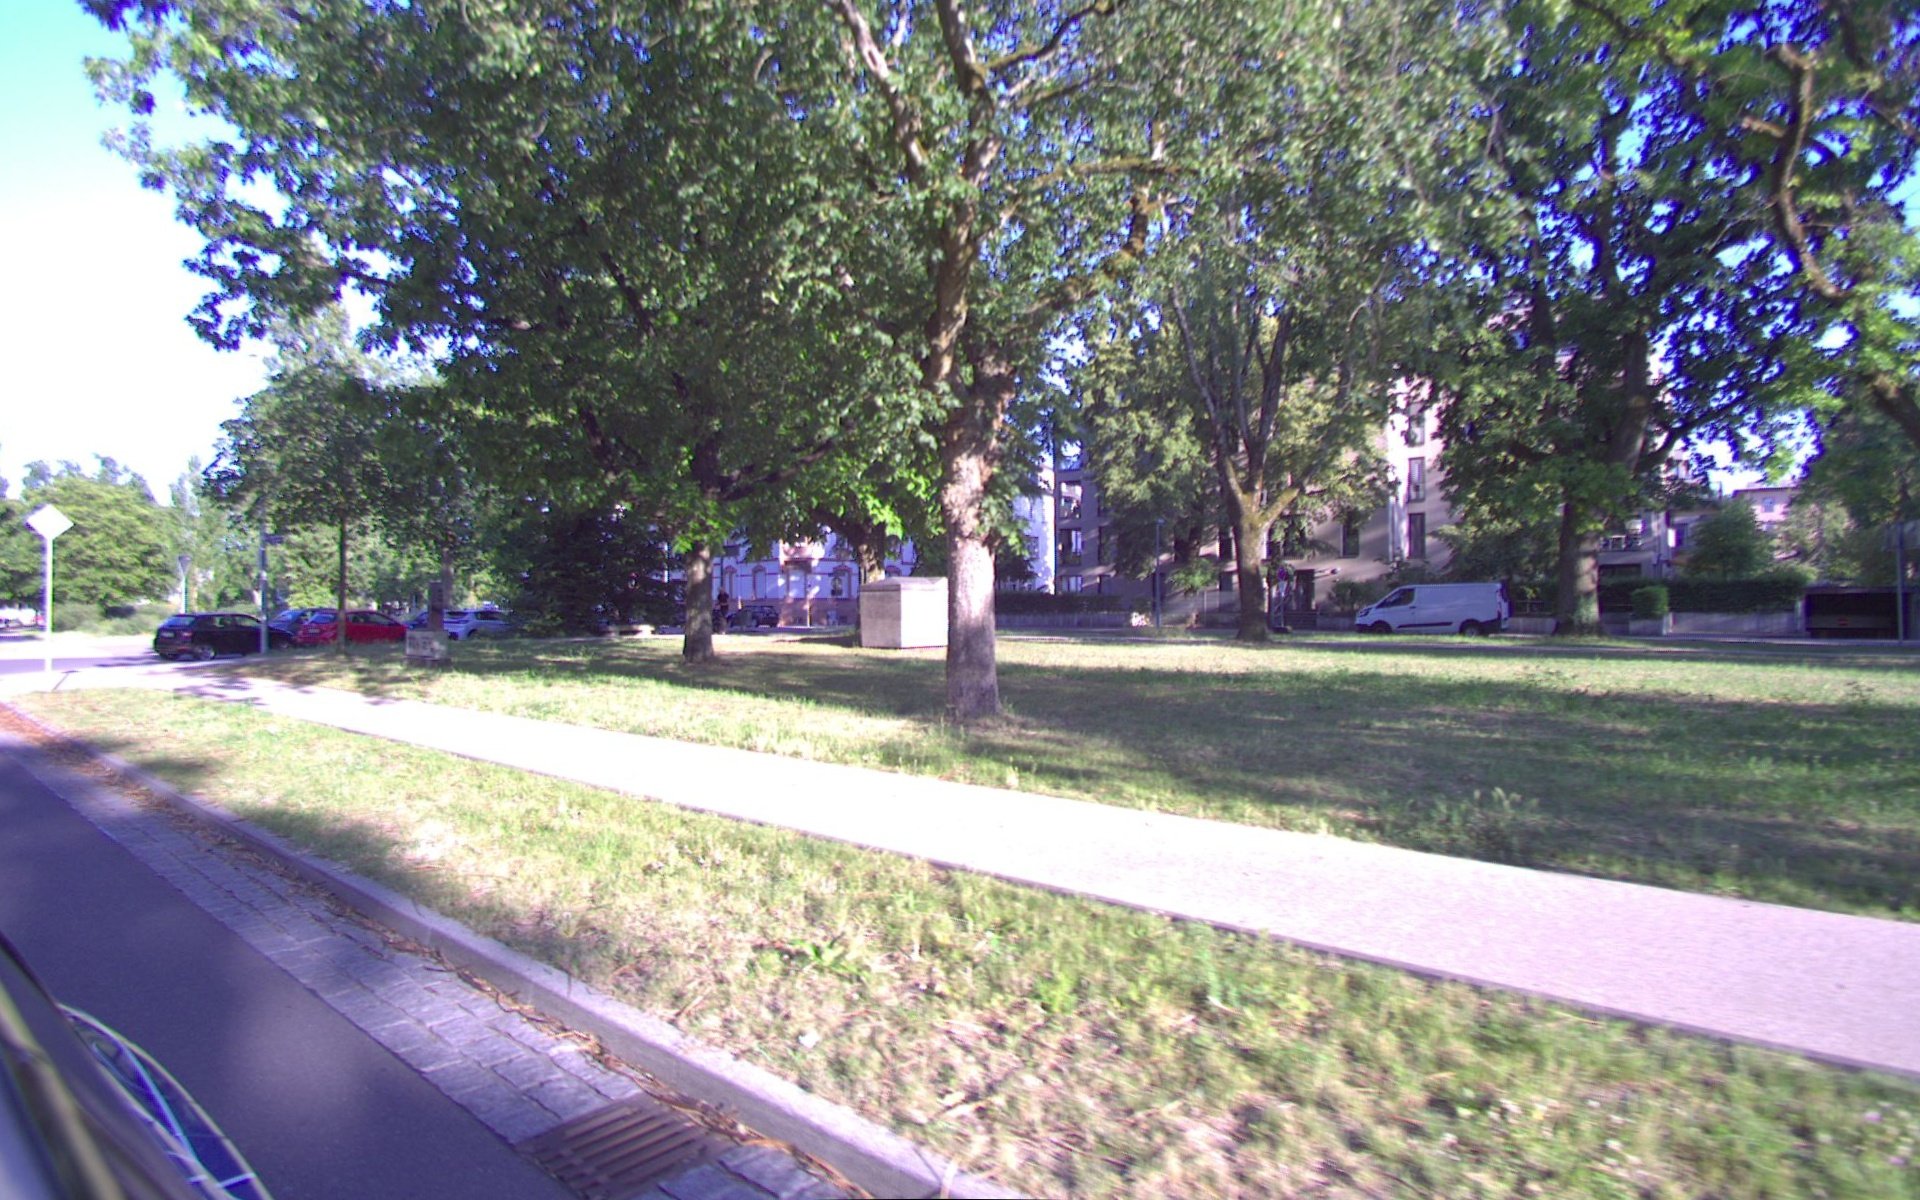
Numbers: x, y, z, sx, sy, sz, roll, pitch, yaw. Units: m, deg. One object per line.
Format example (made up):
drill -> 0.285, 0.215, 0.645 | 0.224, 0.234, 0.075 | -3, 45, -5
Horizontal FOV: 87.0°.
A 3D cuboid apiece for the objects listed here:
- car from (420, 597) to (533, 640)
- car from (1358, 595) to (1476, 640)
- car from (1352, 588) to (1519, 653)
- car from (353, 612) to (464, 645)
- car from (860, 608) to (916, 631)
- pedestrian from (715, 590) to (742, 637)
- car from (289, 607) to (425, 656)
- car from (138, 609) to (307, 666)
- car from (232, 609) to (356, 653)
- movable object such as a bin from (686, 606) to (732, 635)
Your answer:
car -> -19.595, 0.709, 41.189 | 1.877, 1.586, 3.973 | 1, 1, 20
car -> 17.642, 0.648, 39.158 | 3.737, 1.630, 1.973 | -1, 0, 42
car -> 16.781, 0.687, 35.786 | 4.957, 2.130, 2.646 | -1, 0, 35
car -> -24.539, 1.232, 45.188 | 1.825, 1.411, 4.249 | 0, -1, 19
car -> -5.250, 1.398, 74.081 | 1.890, 1.586, 3.945 | 1, 1, 41
pedestrian -> -8.403, 0.490, 36.671 | 0.669, 1.708, 0.657 | -1, 0, 29
car -> -21.437, 1.067, 36.178 | 1.874, 1.586, 3.979 | 1, 1, 16
car -> -22.979, 1.115, 31.724 | 1.874, 1.586, 3.979 | 1, 1, 16
car -> -26.290, 1.195, 40.081 | 1.824, 1.643, 3.825 | 0, -1, 17
movable object such as a bin -> -8.865, 0.730, 35.779 | 0.945, 0.997, 1.321 | 0, -1, 28
